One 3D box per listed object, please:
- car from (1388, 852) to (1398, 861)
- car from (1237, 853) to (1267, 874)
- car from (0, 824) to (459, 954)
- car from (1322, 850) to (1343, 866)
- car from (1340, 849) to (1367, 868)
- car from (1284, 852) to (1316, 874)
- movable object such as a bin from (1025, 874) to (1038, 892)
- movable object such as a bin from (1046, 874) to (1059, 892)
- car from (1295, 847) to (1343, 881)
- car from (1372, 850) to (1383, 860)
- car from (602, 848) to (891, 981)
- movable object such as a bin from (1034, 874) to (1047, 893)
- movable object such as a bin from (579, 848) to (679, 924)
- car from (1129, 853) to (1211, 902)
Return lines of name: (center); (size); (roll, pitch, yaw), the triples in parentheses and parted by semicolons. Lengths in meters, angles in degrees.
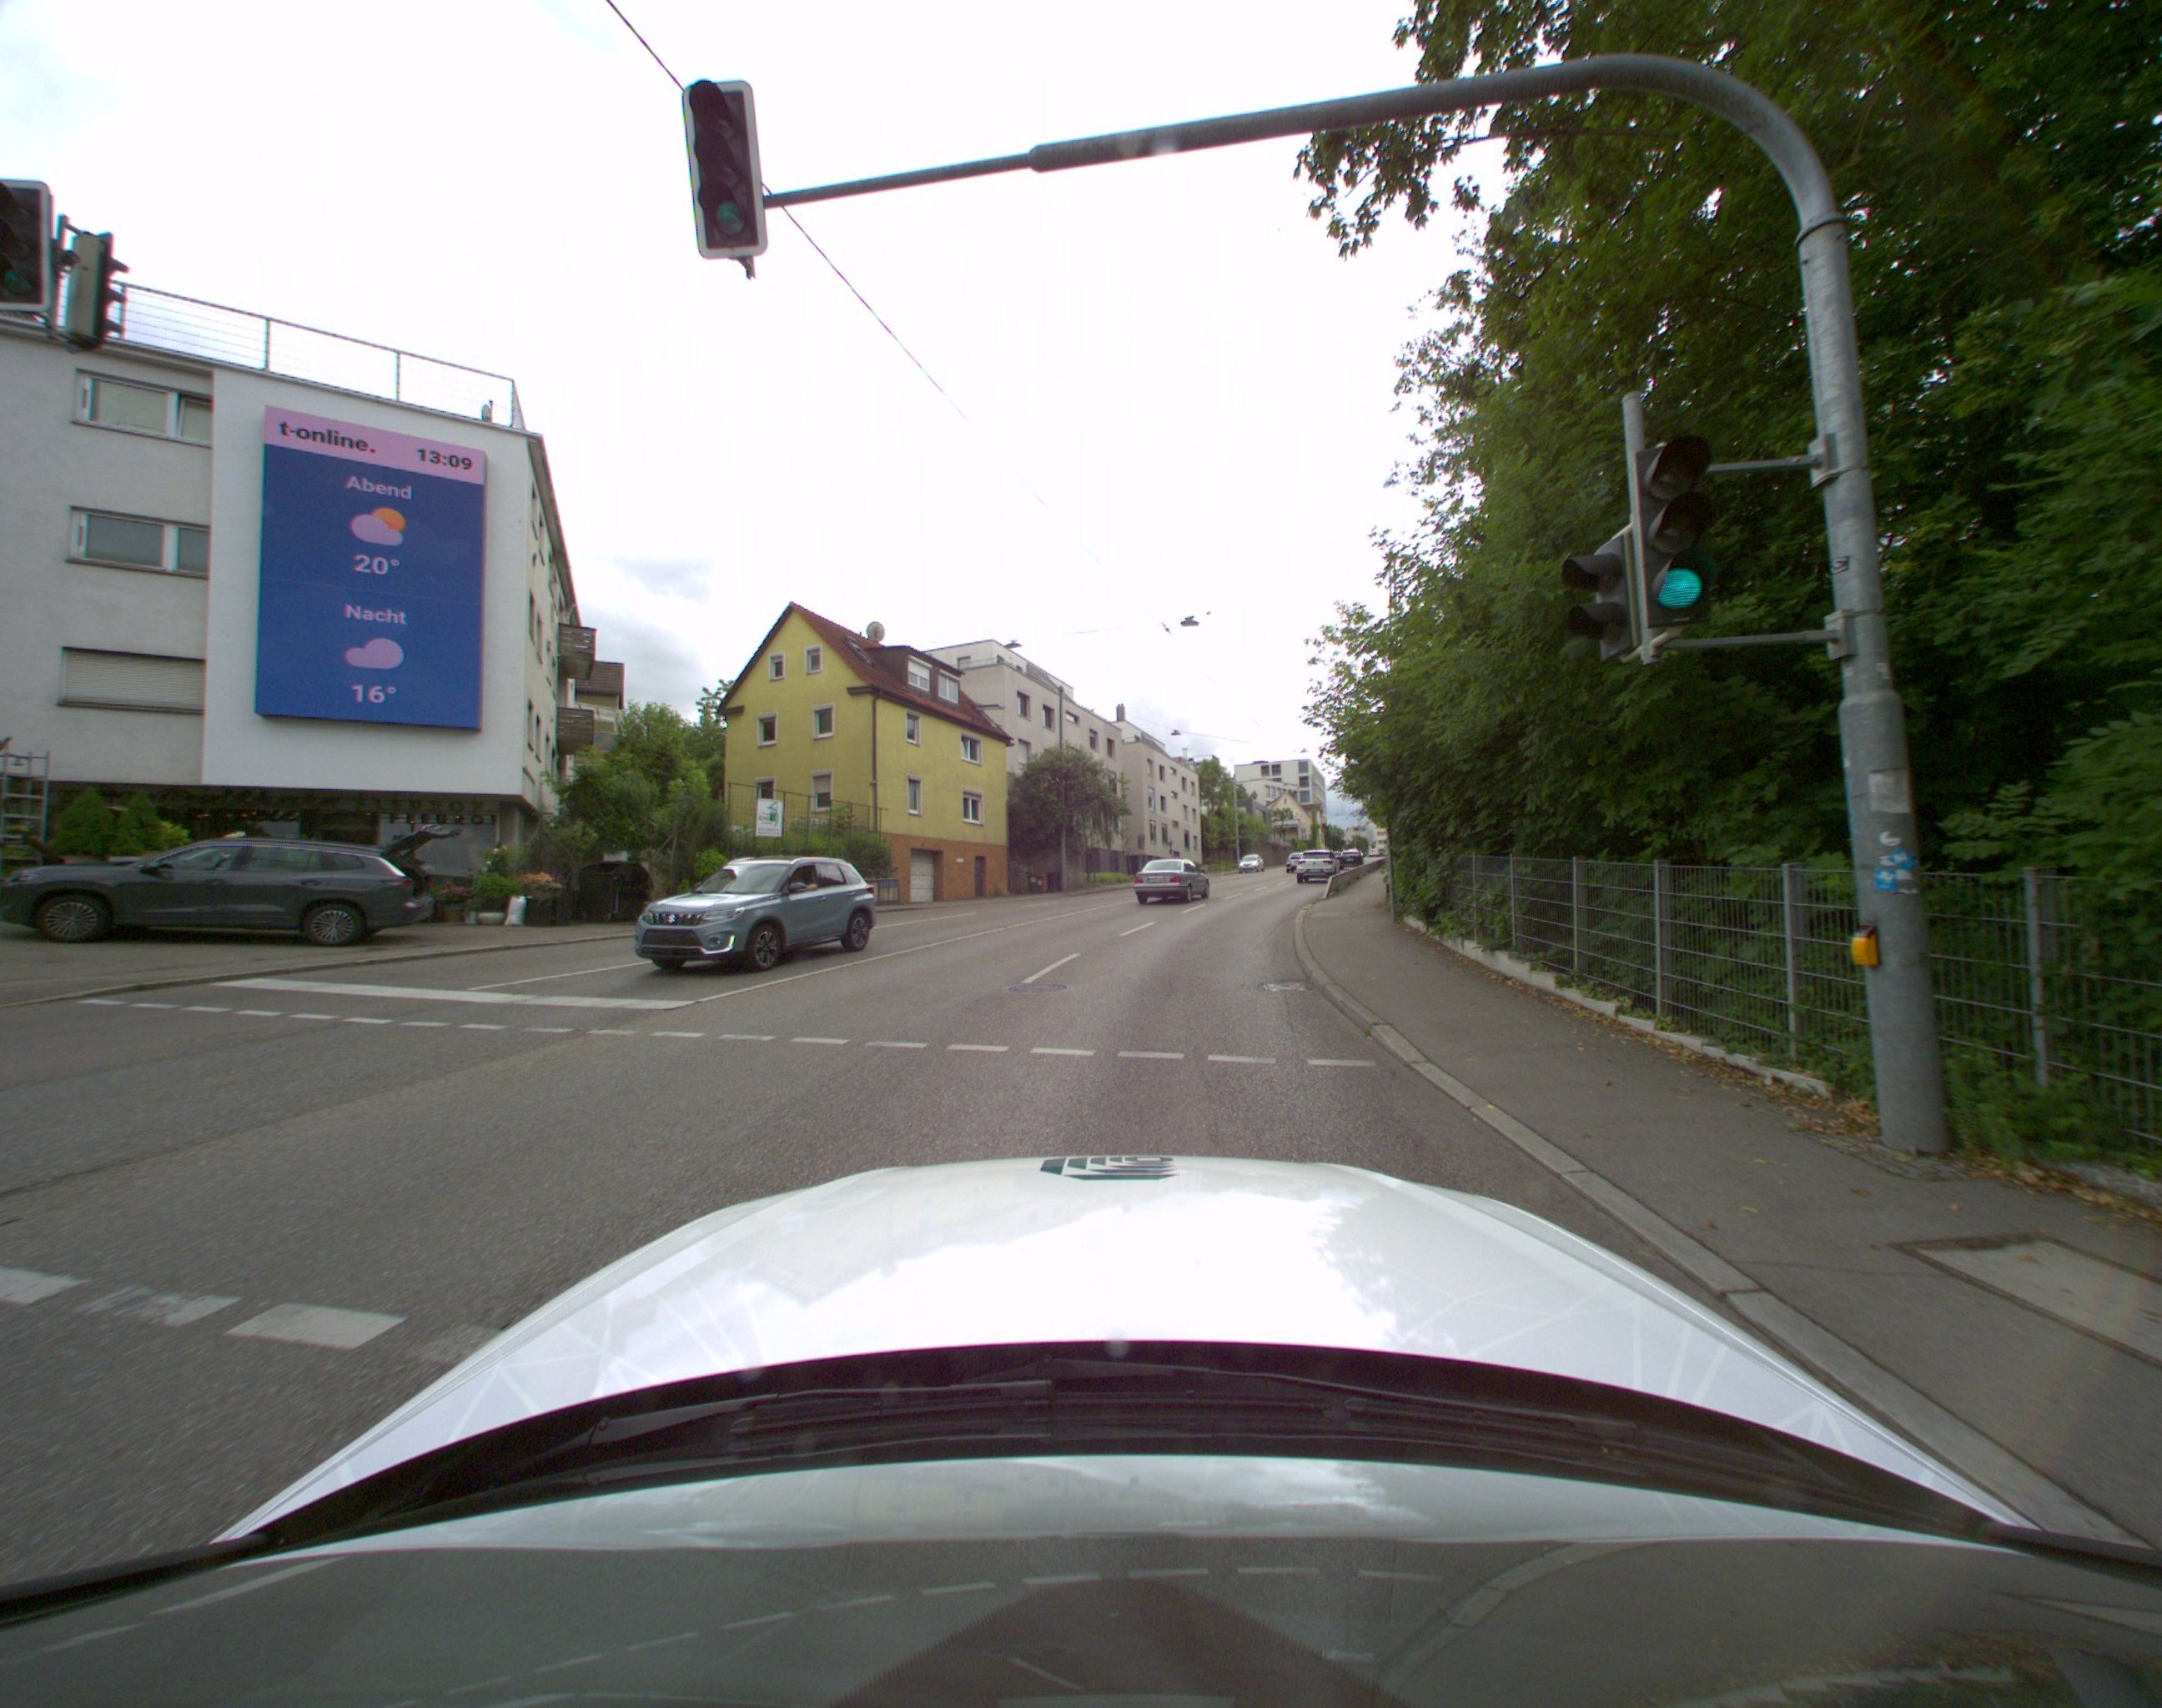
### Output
car: (71.459, 0.589, 186.449); (1.976, 2.014, 4.021); (0, -1, 23)
car: (15.172, 0.815, 72.029); (1.729, 1.614, 4.079); (-5, -1, 23)
car: (-13.496, 0.583, 13.432); (4.715, 1.712, 2.298); (5, 0, -29)
car: (26.279, 0.400, 84.925); (1.691, 1.464, 4.022); (-3, -1, 22)
car: (21.333, 0.340, 63.692); (1.691, 1.464, 4.021); (0, -1, 22)
car: (15.998, 0.640, 59.494); (1.691, 1.464, 4.022); (-3, -1, 22)
movable object such as a bin: (-2.490, 1.439, 40.899); (0.565, 0.885, 0.611); (0, -1, 6)
movable object such as a bin: (-1.434, 1.438, 40.431); (0.565, 0.885, 0.611); (0, -1, 6)
car: (11.596, 0.480, 39.512); (1.764, 1.579, 4.021); (-1, -1, 23)
car: (61.432, 0.180, 168.886); (1.976, 2.014, 4.021); (0, -1, 23)
car: (-4.897, 0.789, 12.722); (1.882, 1.695, 4.365); (-1, 0, 15)
movable object such as a bin: (-1.978, 1.453, 40.179); (0.565, 0.885, 0.611); (0, -1, 6)
movable object such as a bin: (-11.176, 0.768, 20.260); (1.766, 1.779, 1.845); (0, -1, -16)
car: (2.960, 0.734, 26.406); (1.692, 1.464, 4.020); (-1, -1, 20)
